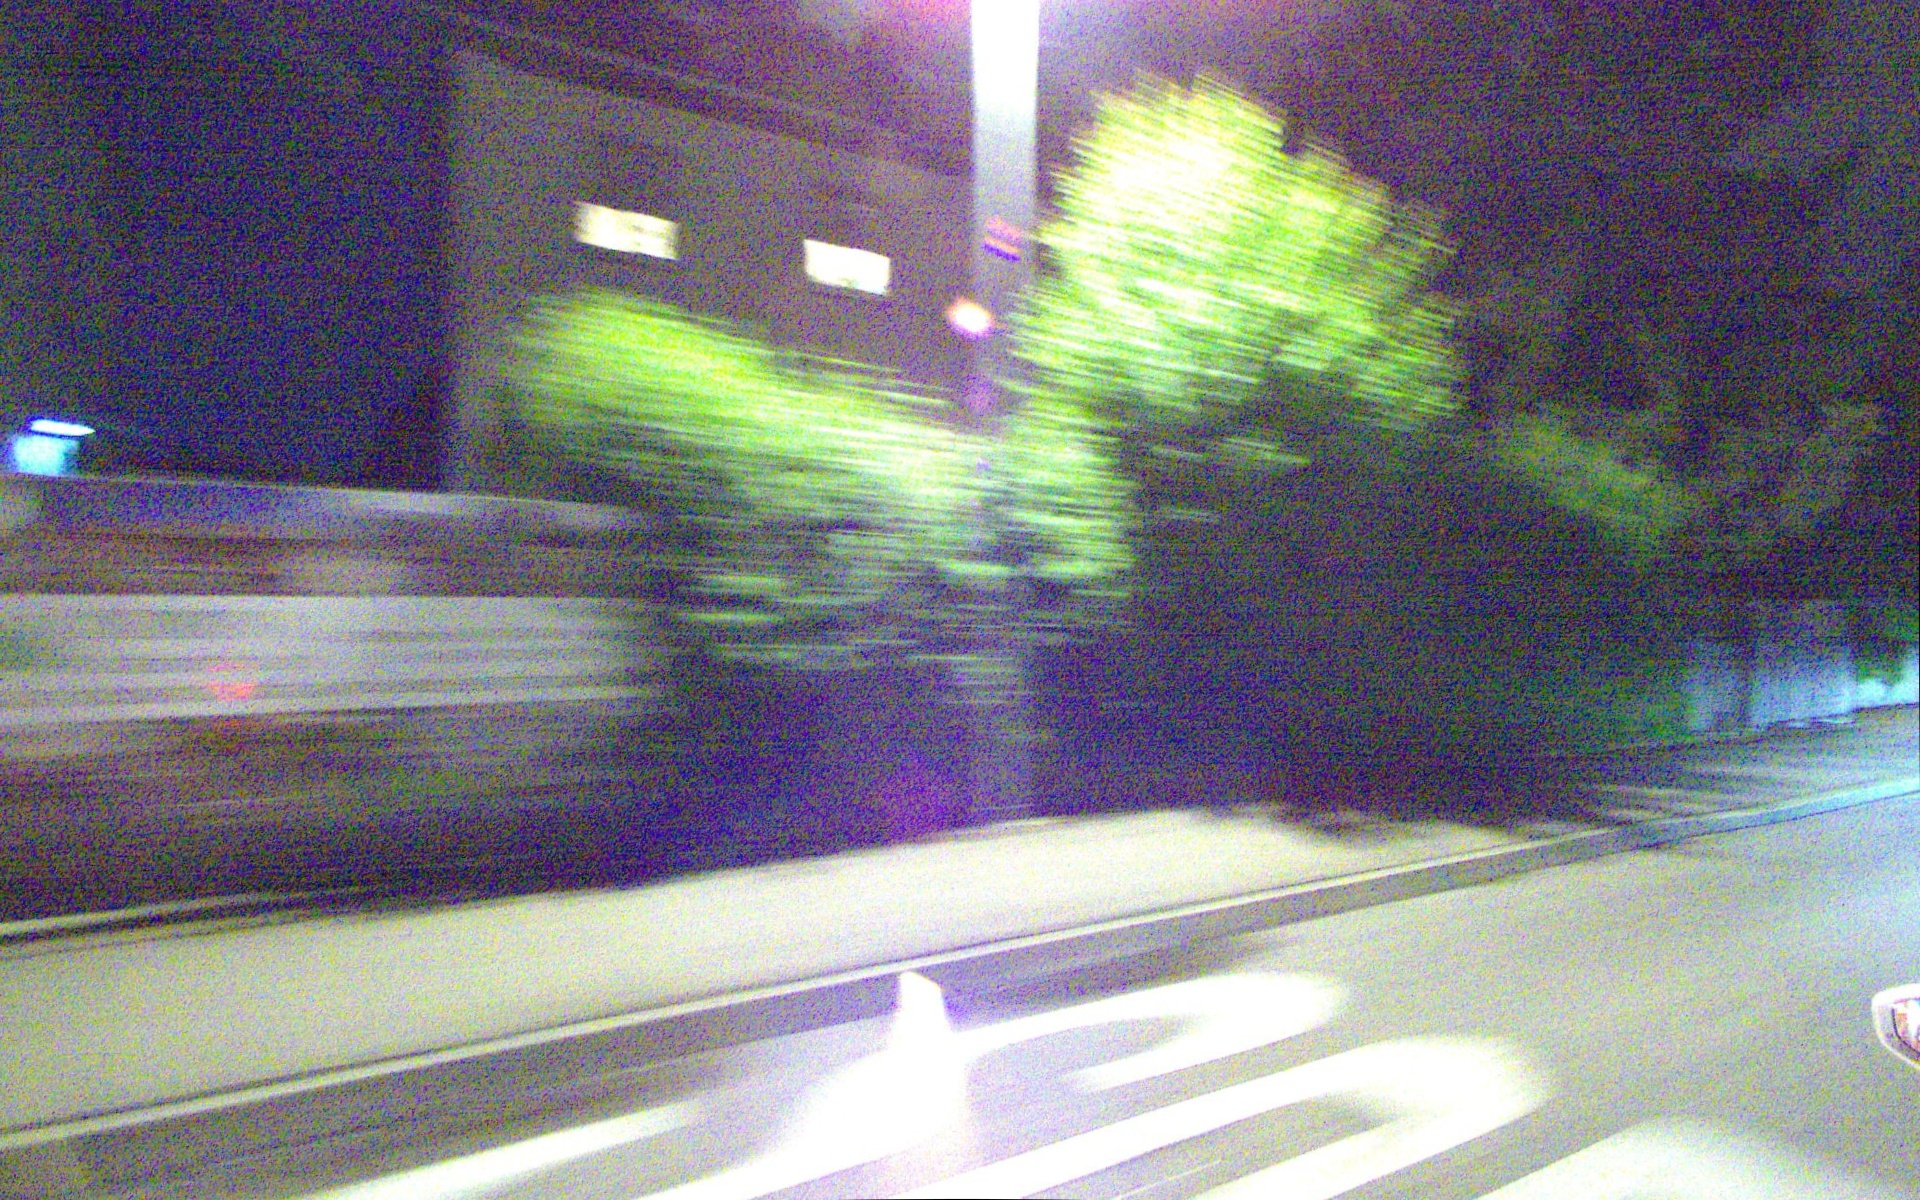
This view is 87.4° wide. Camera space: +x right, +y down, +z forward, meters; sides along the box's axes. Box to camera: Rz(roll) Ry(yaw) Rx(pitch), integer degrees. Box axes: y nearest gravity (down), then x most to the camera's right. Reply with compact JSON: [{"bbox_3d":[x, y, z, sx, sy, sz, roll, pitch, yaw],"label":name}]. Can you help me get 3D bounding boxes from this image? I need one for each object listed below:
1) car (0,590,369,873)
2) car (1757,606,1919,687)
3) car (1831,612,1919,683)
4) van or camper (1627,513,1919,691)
[{"bbox_3d":[-5.799,0.675,5.821,3.961,1.458,1.961,0,0,-36],"label":"car"},{"bbox_3d":[19.999,0.976,21.319,2.040,1.634,4.398,2,-1,-29],"label":"car"},{"bbox_3d":[22.435,1.081,22.681,1.904,1.576,3.793,0,0,-30],"label":"car"},{"bbox_3d":[16.616,0.034,19.839,2.114,3.152,5.355,1,0,-39],"label":"van or camper"}]
